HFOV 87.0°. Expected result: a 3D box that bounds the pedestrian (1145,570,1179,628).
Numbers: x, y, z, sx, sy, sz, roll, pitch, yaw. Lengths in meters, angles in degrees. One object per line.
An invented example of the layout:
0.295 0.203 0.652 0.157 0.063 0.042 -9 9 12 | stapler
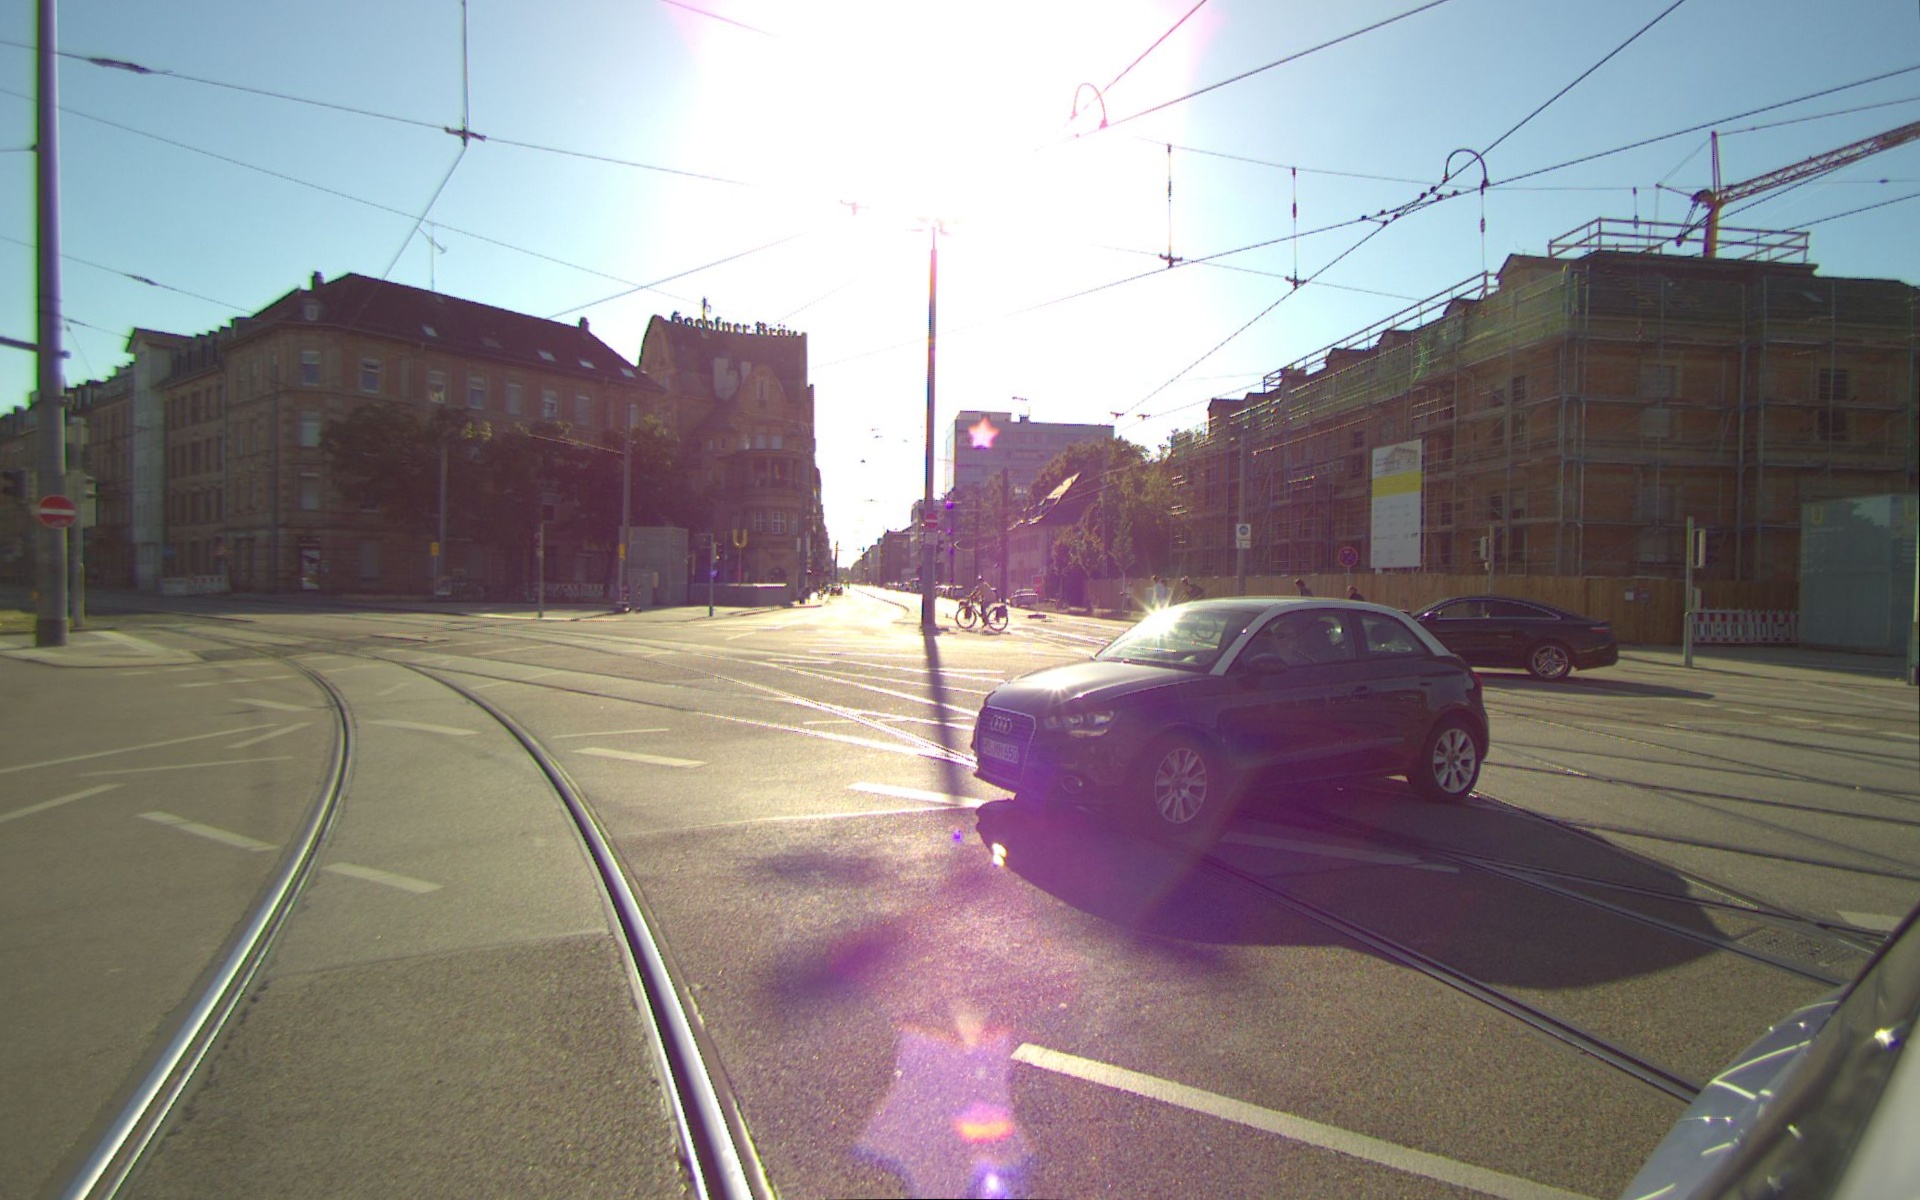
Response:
6.737 -0.024 33.696 0.678 1.873 0.819 3 -2 -38 | pedestrian

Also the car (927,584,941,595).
-3.814 -1.551 149.010 1.721 1.482 4.024 0 -1 -7 | car

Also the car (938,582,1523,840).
1.908 0.607 7.124 3.752 1.405 1.699 0 1 -25 | car

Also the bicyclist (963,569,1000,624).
0.690 -0.110 32.624 0.962 1.717 0.763 2 0 19 | bicyclist

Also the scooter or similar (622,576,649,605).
-14.152 -0.425 44.113 0.716 1.216 1.446 2 0 -33 | scooter or similar

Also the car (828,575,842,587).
-23.512 -3.635 190.790 1.958 2.039 4.007 2 -2 -16 | car

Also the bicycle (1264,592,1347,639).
8.804 0.400 25.853 1.892 1.138 0.639 1 -2 37 | bicycle

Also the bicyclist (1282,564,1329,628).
8.827 -0.100 25.863 0.969 1.589 0.639 1 -2 36 | bicyclist

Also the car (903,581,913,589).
-10.677 -3.127 207.031 1.721 1.482 4.024 0 -1 -7 | car

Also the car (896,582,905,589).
-13.098 -3.280 223.332 1.721 1.482 4.024 0 -1 -7 | car

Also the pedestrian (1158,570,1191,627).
7.270 -0.036 34.254 0.678 1.873 0.819 3 -2 -38 | pedestrian

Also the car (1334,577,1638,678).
9.289 0.402 18.268 4.606 1.511 1.802 2 2 26 | car

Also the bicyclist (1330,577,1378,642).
10.358 0.245 26.624 0.637 1.683 0.972 4 -2 -44 | bicyclist

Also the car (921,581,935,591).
-5.017 -2.204 158.206 1.721 1.482 4.024 0 -1 -7 | car

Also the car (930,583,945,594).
-3.239 -1.637 144.124 1.721 1.482 4.024 0 -1 -7 | car

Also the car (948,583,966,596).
-0.367 -1.251 125.507 1.721 1.482 4.024 0 -1 -7 | car

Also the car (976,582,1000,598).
2.776 -0.960 100.387 1.721 1.482 4.024 0 -1 -7 | car

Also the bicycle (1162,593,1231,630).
7.077 0.333 30.325 1.891 1.040 0.641 2 0 31 | bicycle

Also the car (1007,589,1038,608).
5.013 -0.119 81.446 1.721 1.482 4.024 0 -1 -7 | car

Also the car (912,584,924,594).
-7.491 -1.897 178.895 1.721 1.626 4.024 0 -1 -7 | car

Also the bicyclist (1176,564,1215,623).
7.065 -0.188 30.333 0.967 1.717 0.641 2 0 30 | bicyclist

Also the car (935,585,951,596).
-2.244 -1.248 136.136 1.721 1.482 4.024 0 -1 -7 | car

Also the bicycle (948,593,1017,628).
0.714 0.334 32.604 2.079 1.040 0.763 2 0 19 | bicycle

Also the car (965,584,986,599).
1.606 -0.875 106.183 1.721 1.482 4.024 0 -1 -7 | car

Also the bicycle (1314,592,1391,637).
10.316 0.372 26.652 0.637 1.138 1.771 4 -2 -44 | bicycle

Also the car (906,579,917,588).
-9.154 -3.066 190.284 1.721 1.482 4.024 0 -1 -7 | car
